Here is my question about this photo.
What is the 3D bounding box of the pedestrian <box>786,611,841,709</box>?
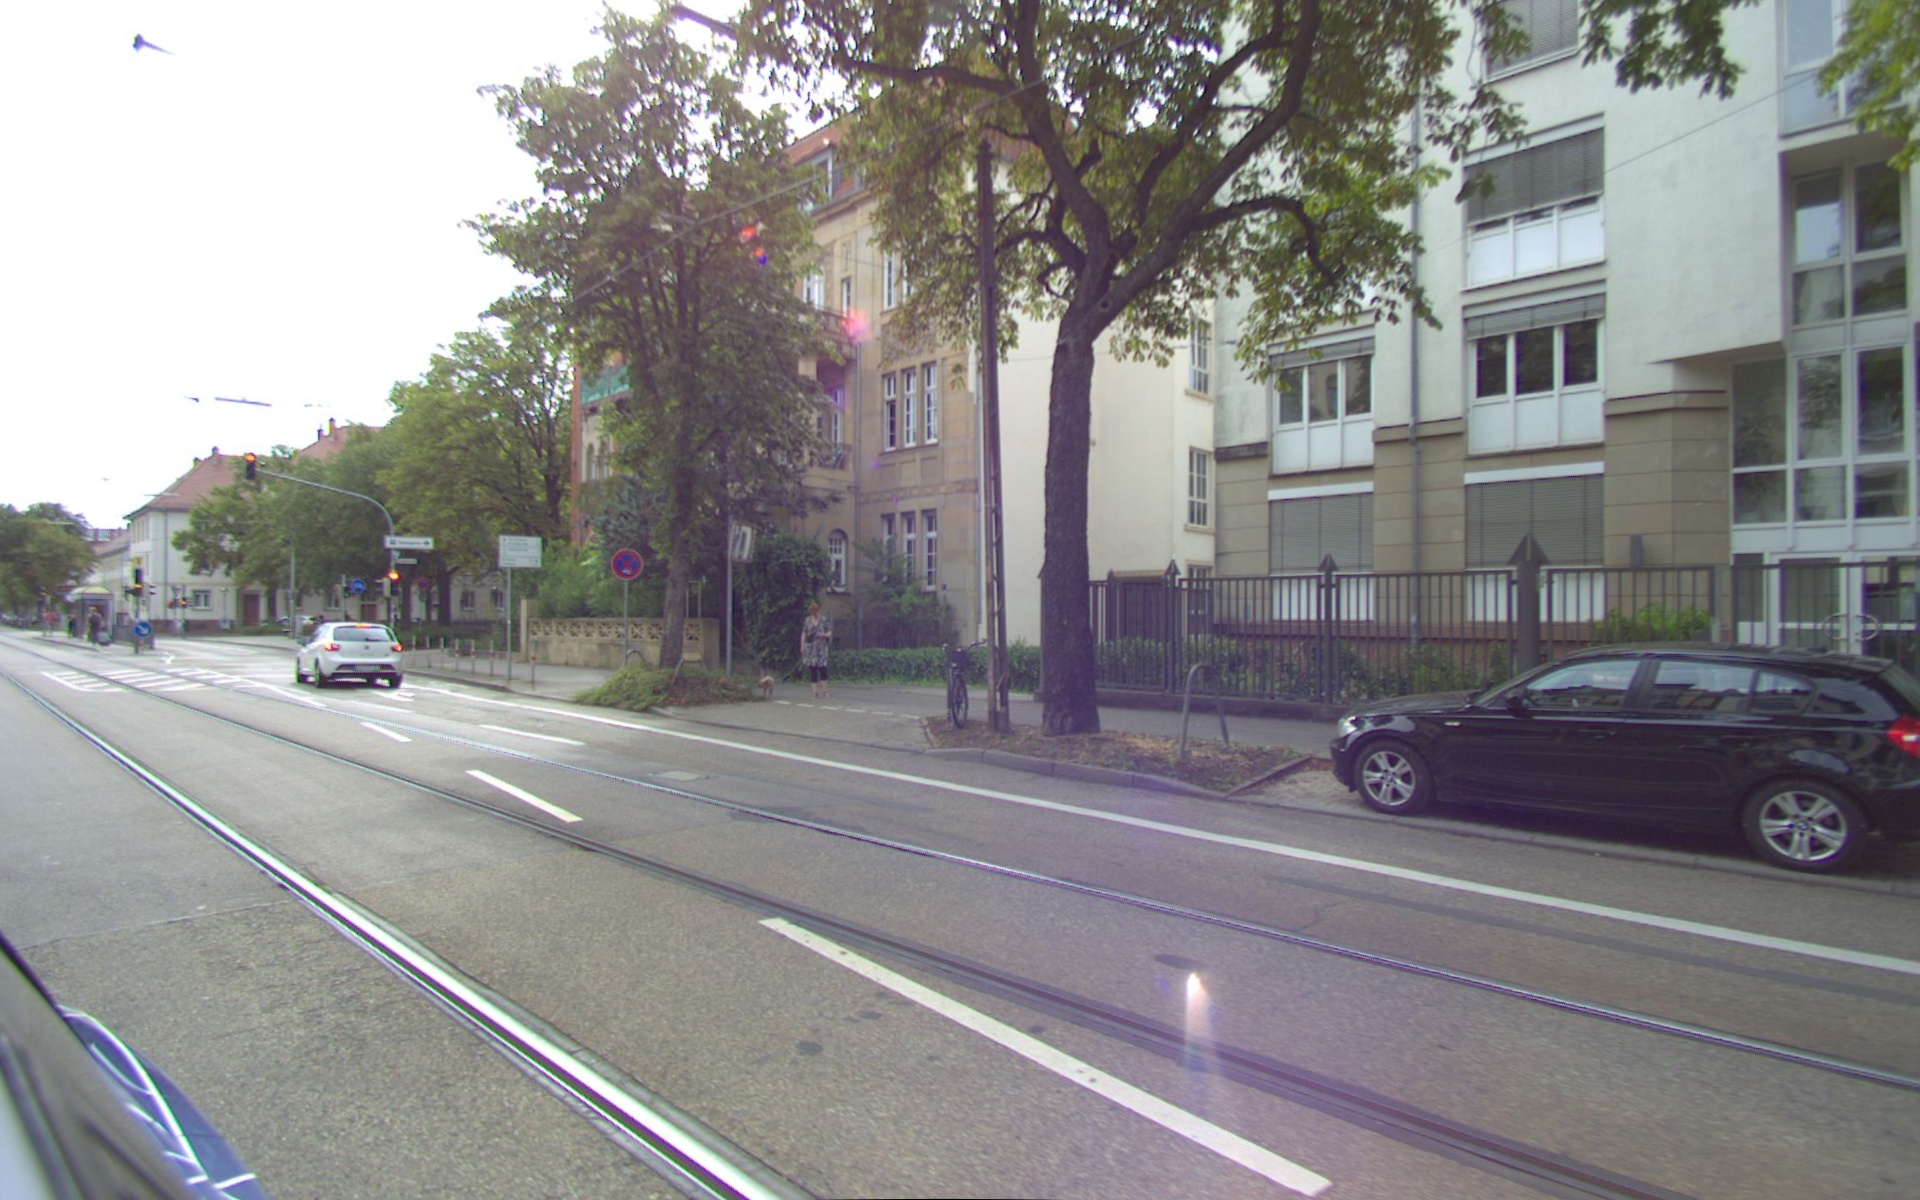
[{"bbox_3d":[-2.697,1.085,18.588,0.700,1.749,0.698,-1,-1,39],"label":"pedestrian"}]

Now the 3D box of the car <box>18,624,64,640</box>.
[{"bbox_3d":[-108.228,3.748,119.158,3.940,1.739,1.878,0,-1,-44],"label":"car"}]

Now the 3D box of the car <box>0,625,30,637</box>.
[{"bbox_3d":[-137.390,4.466,146.638,3.940,1.739,1.878,0,-1,-44],"label":"car"}]

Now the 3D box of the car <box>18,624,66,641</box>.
[{"bbox_3d":[-101.875,3.583,112.293,3.940,1.739,1.878,0,-1,-44],"label":"car"}]

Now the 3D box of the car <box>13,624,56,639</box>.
[{"bbox_3d":[-115.591,3.932,126.391,3.940,1.739,1.878,0,-1,-44],"label":"car"}]

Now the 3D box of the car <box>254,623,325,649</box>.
[{"bbox_3d":[-51.133,2.736,77.240,4.130,1.879,1.858,-1,-1,-11],"label":"car"}]

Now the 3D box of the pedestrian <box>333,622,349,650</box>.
[{"bbox_3d":[-46.372,2.672,75.829,0.850,2.029,0.766,-1,-1,-12],"label":"pedestrian"}]

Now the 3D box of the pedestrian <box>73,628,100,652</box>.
[{"bbox_3d":[-47.709,2.189,55.274,0.723,1.246,1.019,-1,-1,42],"label":"pedestrian"}]

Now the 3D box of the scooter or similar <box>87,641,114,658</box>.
[{"bbox_3d":[-37.554,2.170,44.221,0.659,0.718,0.605,2,-2,-15],"label":"scooter or similar"}]

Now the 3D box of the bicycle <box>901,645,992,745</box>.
[{"bbox_3d":[-0.139,1.265,14.005,0.826,1.184,2.229,-1,-1,11],"label":"bicycle"}]

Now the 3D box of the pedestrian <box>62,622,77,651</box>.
[{"bbox_3d":[-53.445,2.161,60.721,0.618,1.716,0.580,-1,-1,40],"label":"pedestrian"}]

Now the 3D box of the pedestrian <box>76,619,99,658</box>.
[{"bbox_3d":[-38.336,1.693,44.461,0.815,1.703,0.675,-1,-2,43],"label":"pedestrian"}]

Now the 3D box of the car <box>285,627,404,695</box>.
[{"bbox_3d":[-14.229,1.359,23.300,1.552,1.427,4.004,4,-4,-42],"label":"car"}]

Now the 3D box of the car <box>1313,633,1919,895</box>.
[{"bbox_3d":[5.107,1.034,7.800,1.700,1.435,4.168,-2,1,-44],"label":"car"}]

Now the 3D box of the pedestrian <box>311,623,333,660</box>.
[{"bbox_3d":[-29.378,1.894,46.590,0.711,1.703,0.646,-1,-2,40],"label":"pedestrian"}]

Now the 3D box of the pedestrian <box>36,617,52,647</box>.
[{"bbox_3d":[-58.371,2.029,64.467,0.463,1.848,0.651,-1,-1,30],"label":"pedestrian"}]
